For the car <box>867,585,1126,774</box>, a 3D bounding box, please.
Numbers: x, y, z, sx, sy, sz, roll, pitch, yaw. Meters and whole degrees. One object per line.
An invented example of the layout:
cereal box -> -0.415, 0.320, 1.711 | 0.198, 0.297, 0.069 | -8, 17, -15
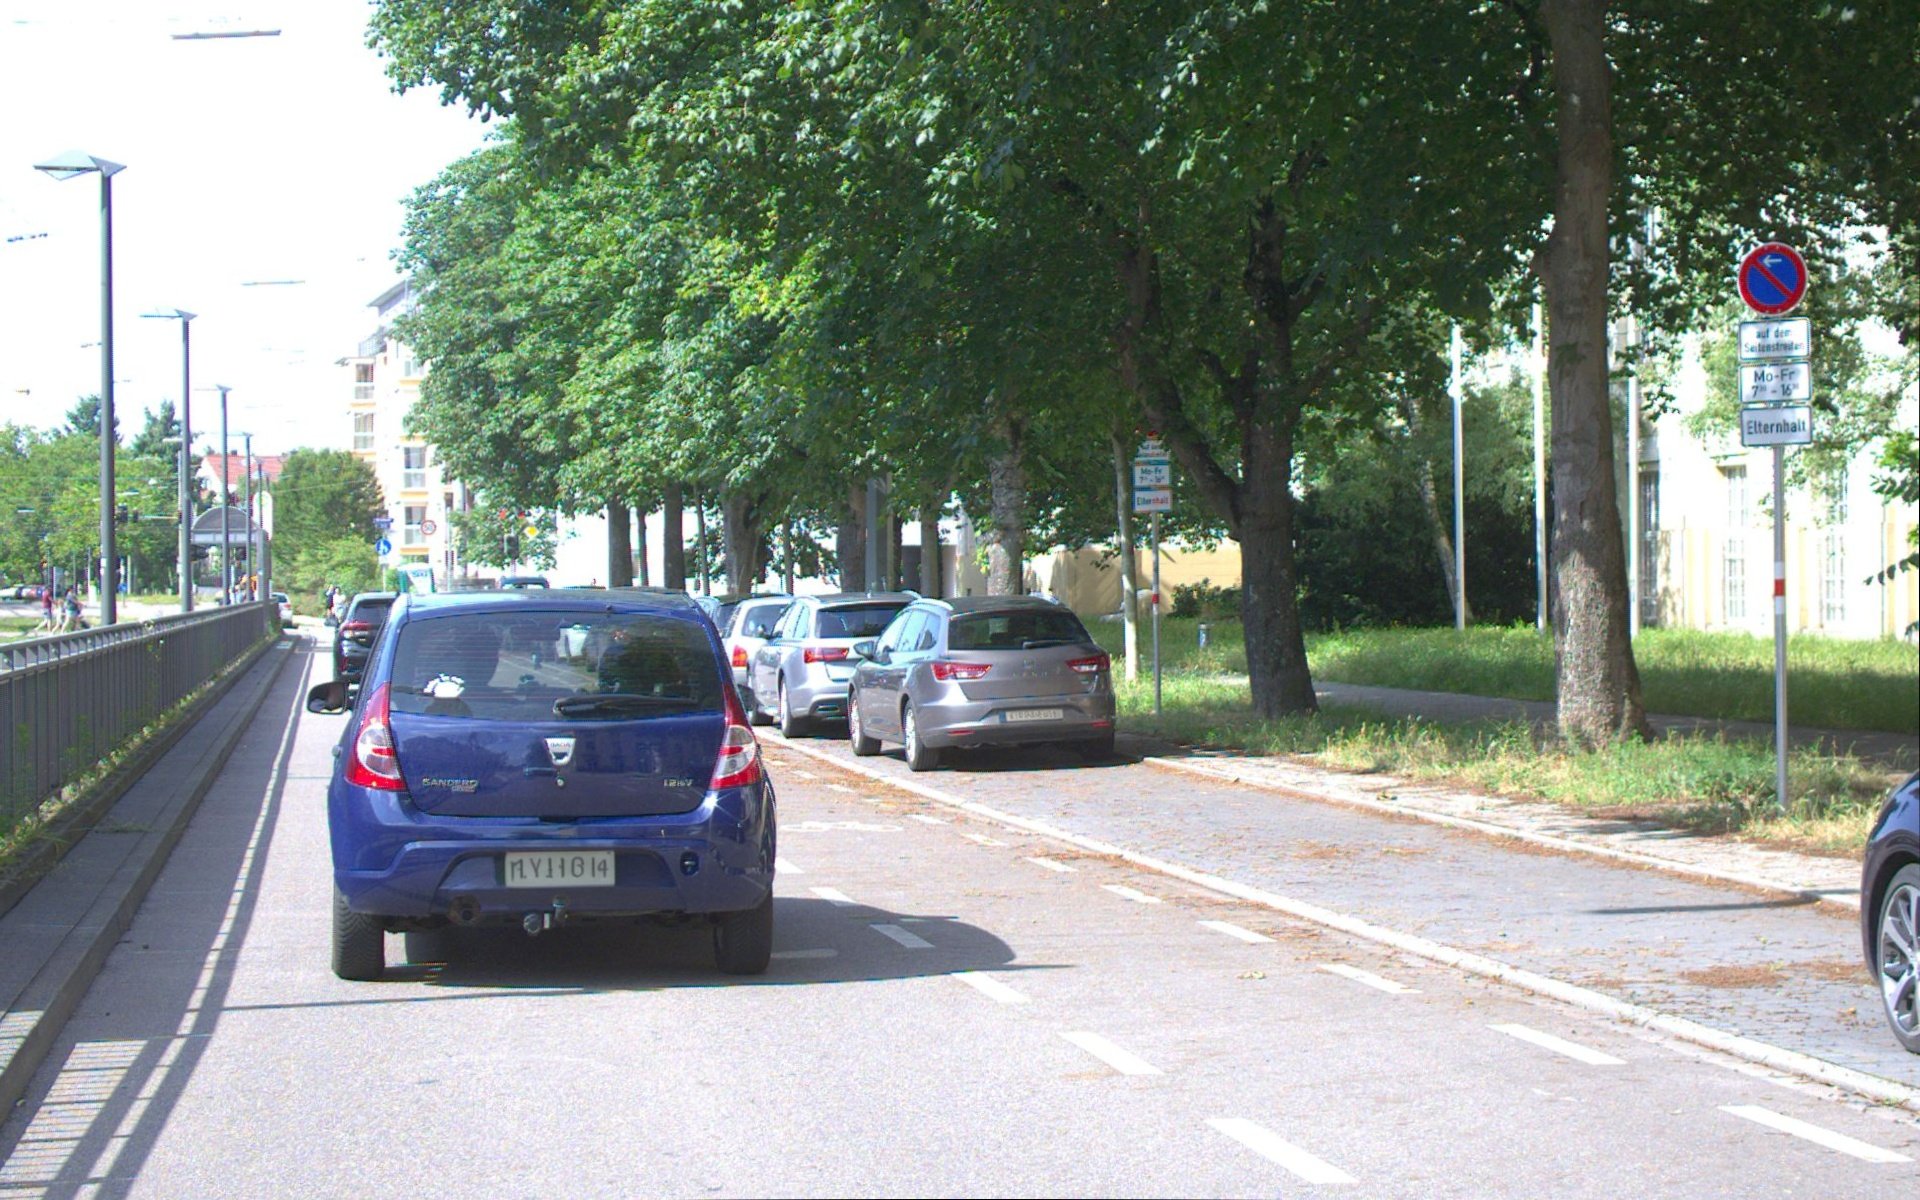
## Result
car -> 0.245, 0.639, 29.963 | 1.861, 1.440, 4.001 | -2, 1, -4

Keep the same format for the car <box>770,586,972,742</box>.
car -> -0.990, 0.619, 35.921 | 1.861, 1.440, 4.001 | -2, 1, -4

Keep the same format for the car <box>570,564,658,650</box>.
car -> -7.346, 0.127, 72.754 | 1.617, 1.744, 4.001 | -1, 1, -9

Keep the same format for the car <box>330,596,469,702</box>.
car -> -7.895, 0.665, 48.656 | 1.699, 1.363, 3.515 | 0, 1, -5

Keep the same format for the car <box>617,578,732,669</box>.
car -> -4.885, 0.380, 58.999 | 1.861, 1.440, 4.001 | -2, 1, -4

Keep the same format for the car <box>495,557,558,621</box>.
car -> -12.242, -0.323, 97.211 | 1.667, 1.766, 4.001 | -1, 1, -6

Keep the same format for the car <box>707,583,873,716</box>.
car -> -2.111, 0.561, 41.733 | 1.861, 1.440, 4.001 | -2, 1, -4

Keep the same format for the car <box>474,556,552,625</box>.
car -> -11.813, -0.269, 91.108 | 1.830, 1.756, 4.001 | -1, 1, -4

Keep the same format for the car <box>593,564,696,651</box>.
car -> -5.859, 0.109, 64.204 | 1.827, 1.532, 4.001 | -1, 1, -4

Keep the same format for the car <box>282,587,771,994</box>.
car -> -1.831, 0.682, 14.387 | 1.767, 1.457, 3.776 | 0, 0, -8

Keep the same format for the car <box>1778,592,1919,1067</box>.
car -> 3.954, 0.693, 9.655 | 1.765, 1.428, 3.905 | -1, 1, -11

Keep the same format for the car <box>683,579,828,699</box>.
car -> -2.788, 0.487, 46.350 | 1.851, 1.510, 4.001 | -1, 1, -4
